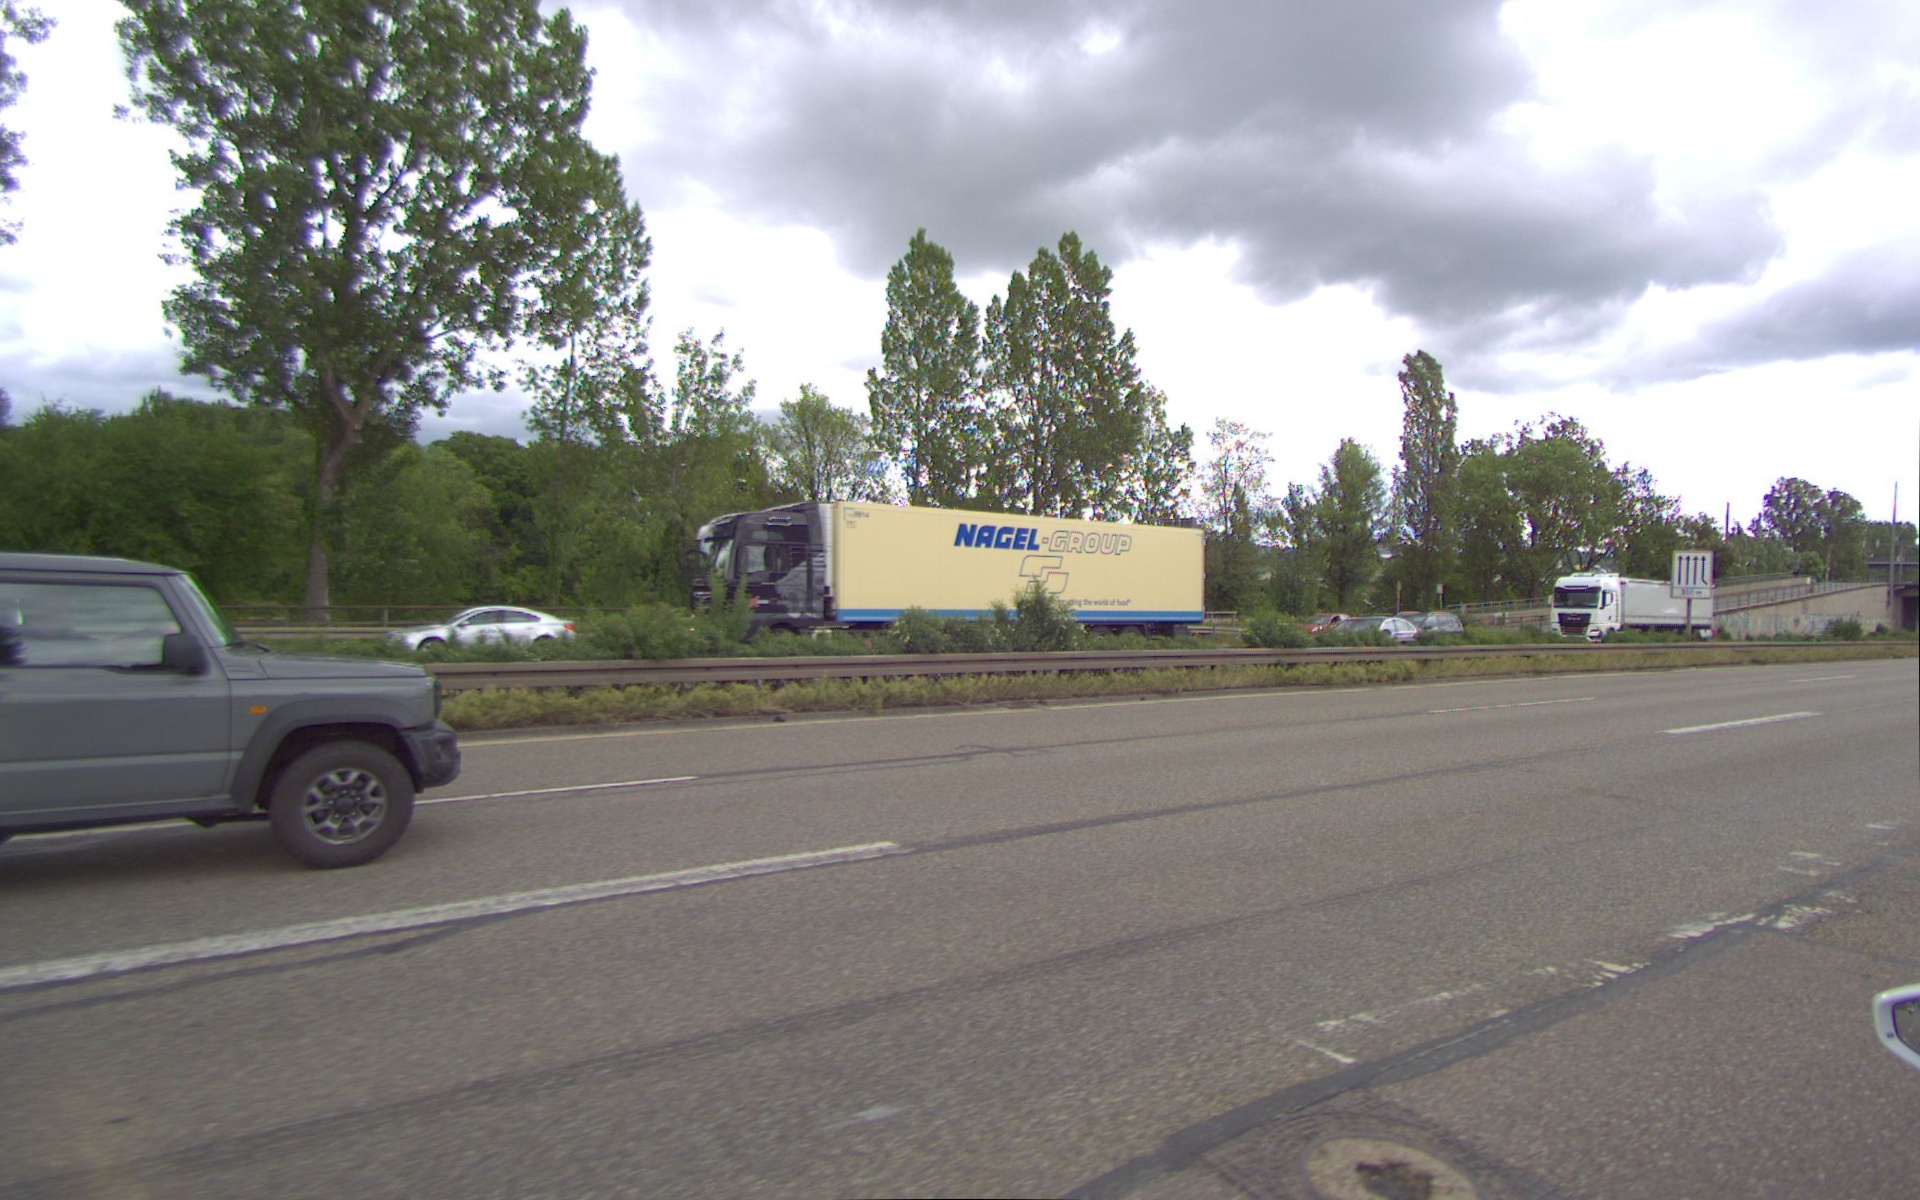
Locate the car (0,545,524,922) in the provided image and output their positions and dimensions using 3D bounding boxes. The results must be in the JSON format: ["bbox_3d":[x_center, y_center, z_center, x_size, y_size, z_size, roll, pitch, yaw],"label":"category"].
[{"bbox_3d":[-4.691,0.628,5.554,3.957,1.759,1.670,1,0,-34],"label":"car"}]

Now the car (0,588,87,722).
[{"bbox_3d":[-14.448,0.745,13.767,3.536,1.831,1.768,0,0,-35],"label":"car"}]

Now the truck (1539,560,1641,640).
[{"bbox_3d":[33.263,-0.023,53.026,5.263,3.990,2.769,1,2,-37],"label":"truck"}]

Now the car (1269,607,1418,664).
[{"bbox_3d":[10.839,0.944,28.351,3.955,1.473,1.983,0,0,-32],"label":"car"}]

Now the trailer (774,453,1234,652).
[{"bbox_3d":[1.953,-1.127,29.717,14.638,4.736,3.439,0,1,-36],"label":"trailer"}]

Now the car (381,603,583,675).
[{"bbox_3d":[-12.669,0.960,26.726,4.562,1.666,1.978,0,3,-38],"label":"car"}]

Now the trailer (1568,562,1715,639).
[{"bbox_3d":[39.332,0.070,57.661,13.388,4.002,2.769,1,2,-37],"label":"trailer"}]

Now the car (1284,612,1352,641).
[{"bbox_3d":[18.441,1.343,51.730,3.582,1.379,1.640,0,0,-37],"label":"car"}]

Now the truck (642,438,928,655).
[{"bbox_3d":[-4.331,-1.187,25.139,6.150,4.736,3.440,0,1,-36],"label":"truck"}]
